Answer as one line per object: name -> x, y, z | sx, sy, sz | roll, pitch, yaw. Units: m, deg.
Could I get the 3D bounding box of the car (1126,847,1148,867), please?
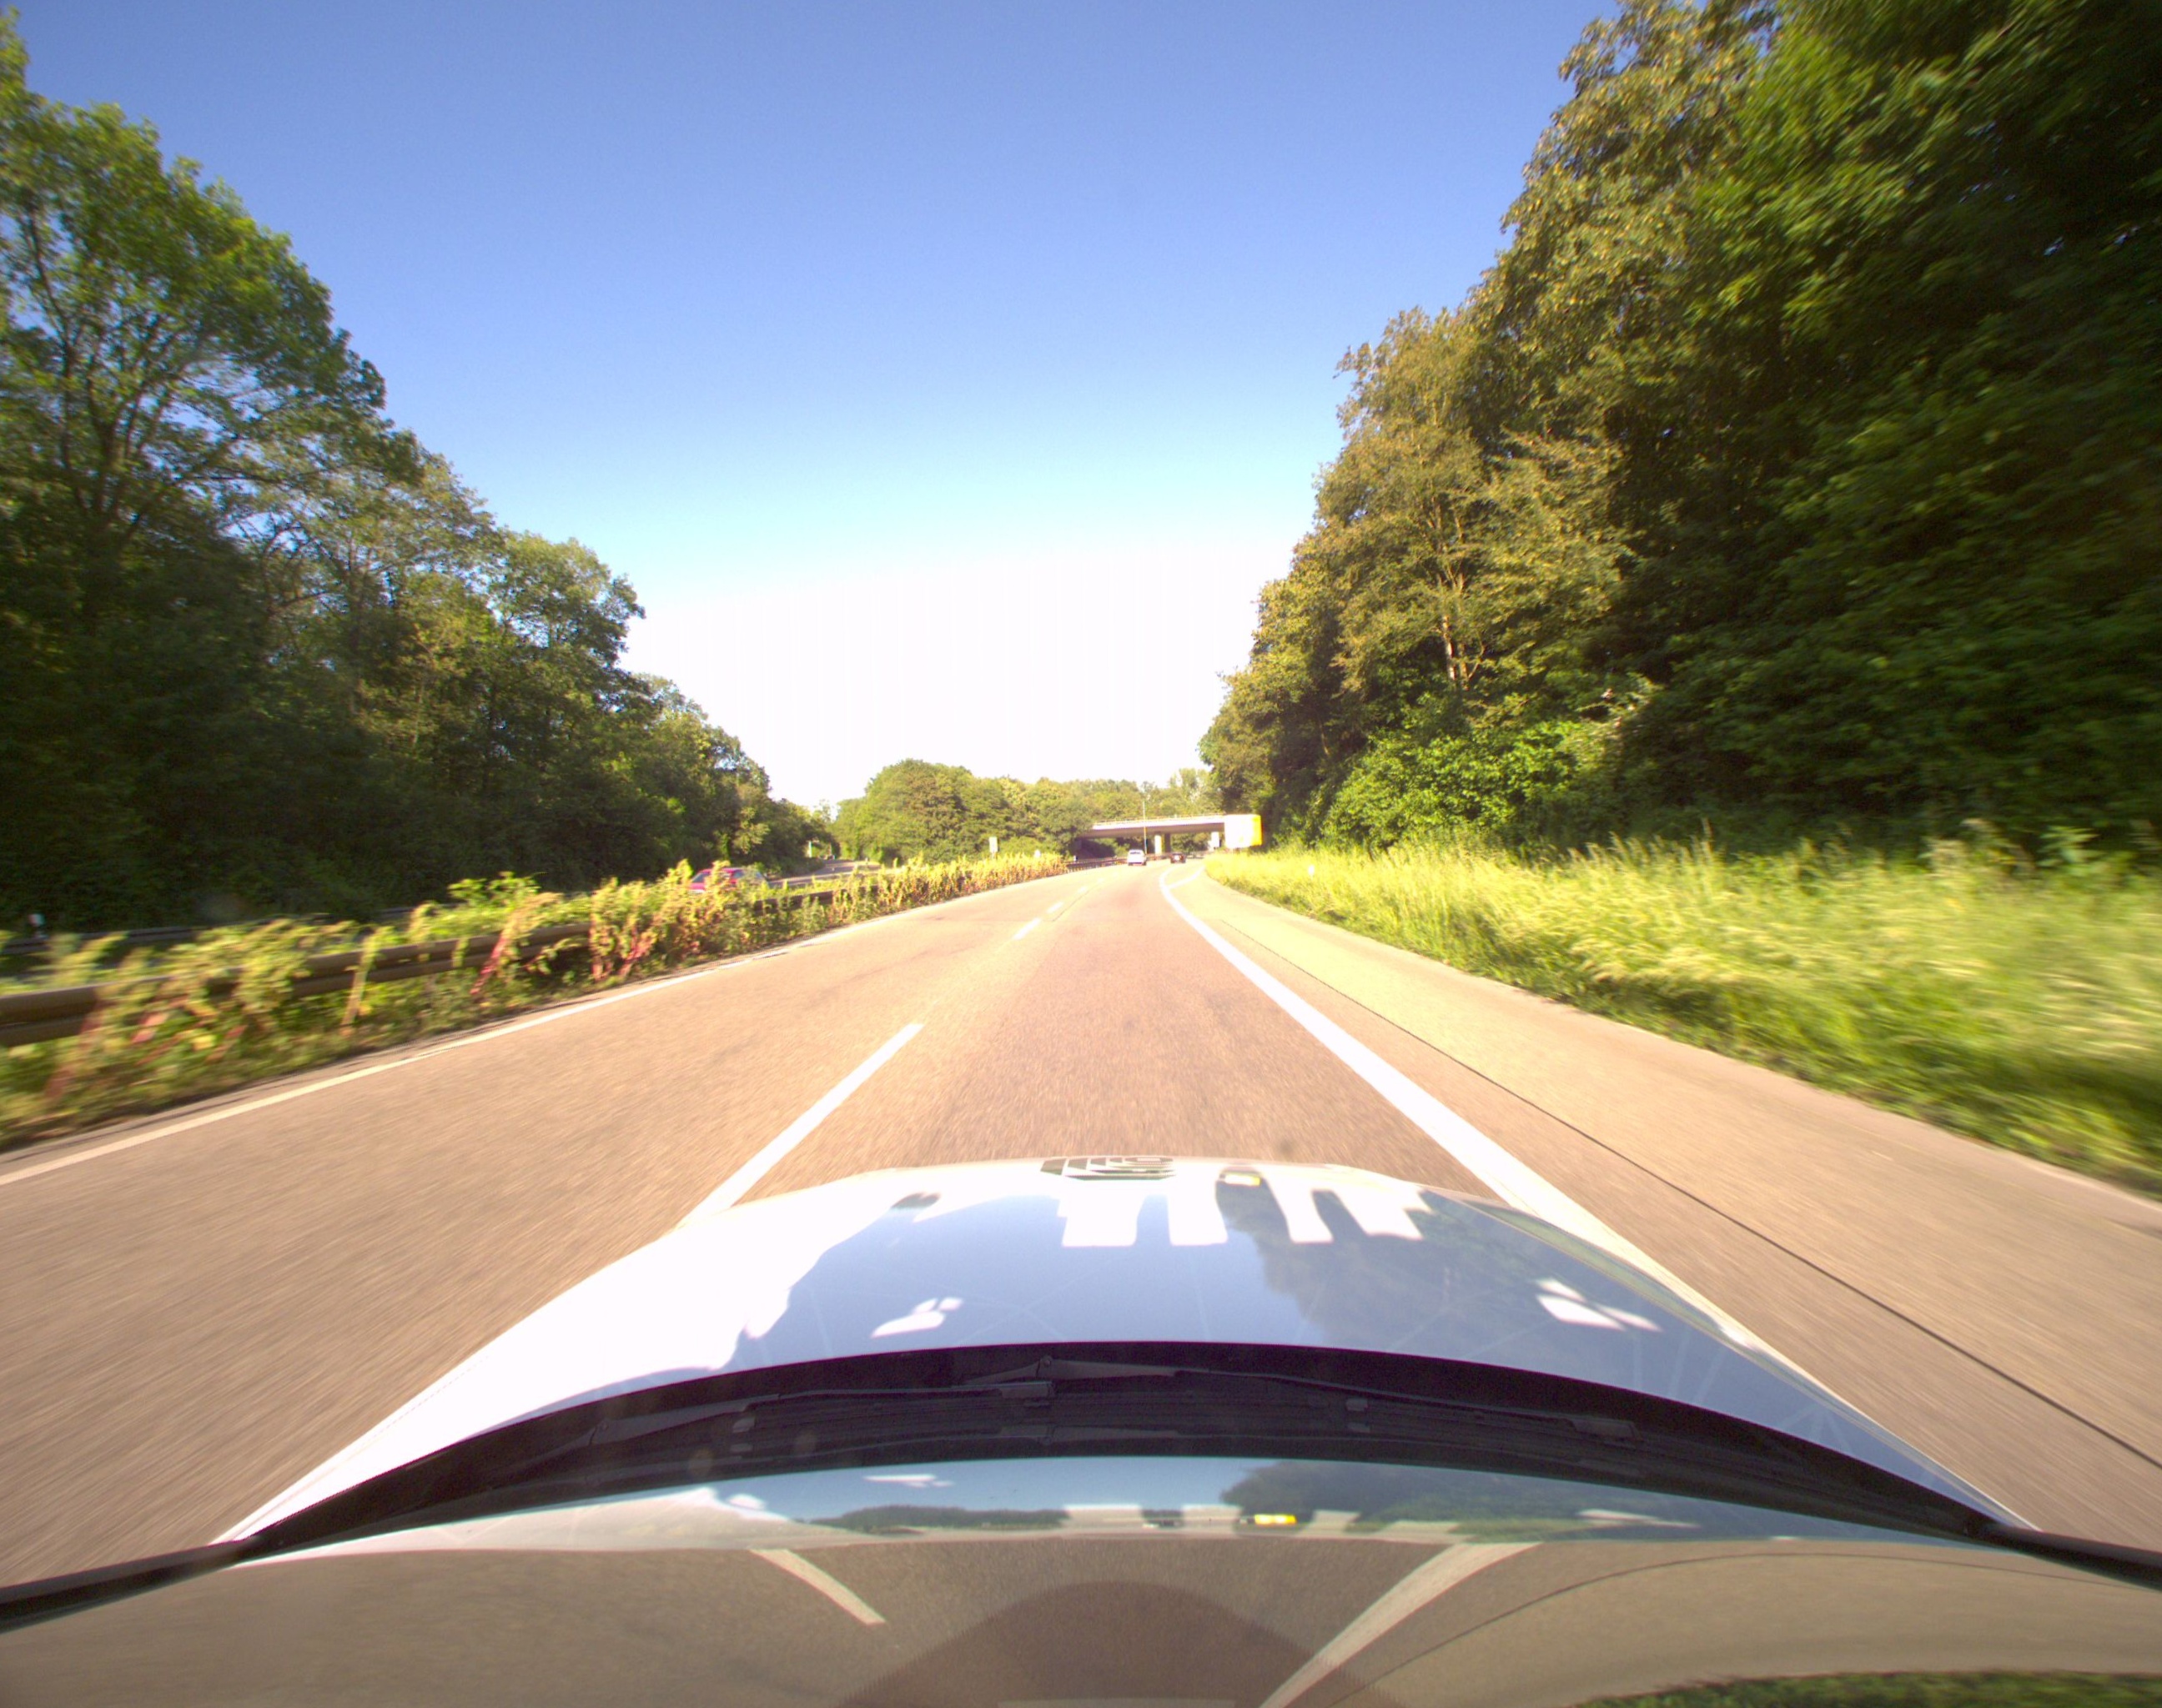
car -> 6.433, 0.335, 93.553 | 1.981, 2.277, 4.012 | -2, 0, 11

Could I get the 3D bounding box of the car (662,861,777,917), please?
car -> -13.906, 1.275, 31.695 | 2.037, 2.014, 4.768 | -1, -1, 5

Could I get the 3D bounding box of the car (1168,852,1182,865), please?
car -> 12.778, 0.647, 110.651 | 1.731, 1.662, 3.951 | -2, 0, 5
